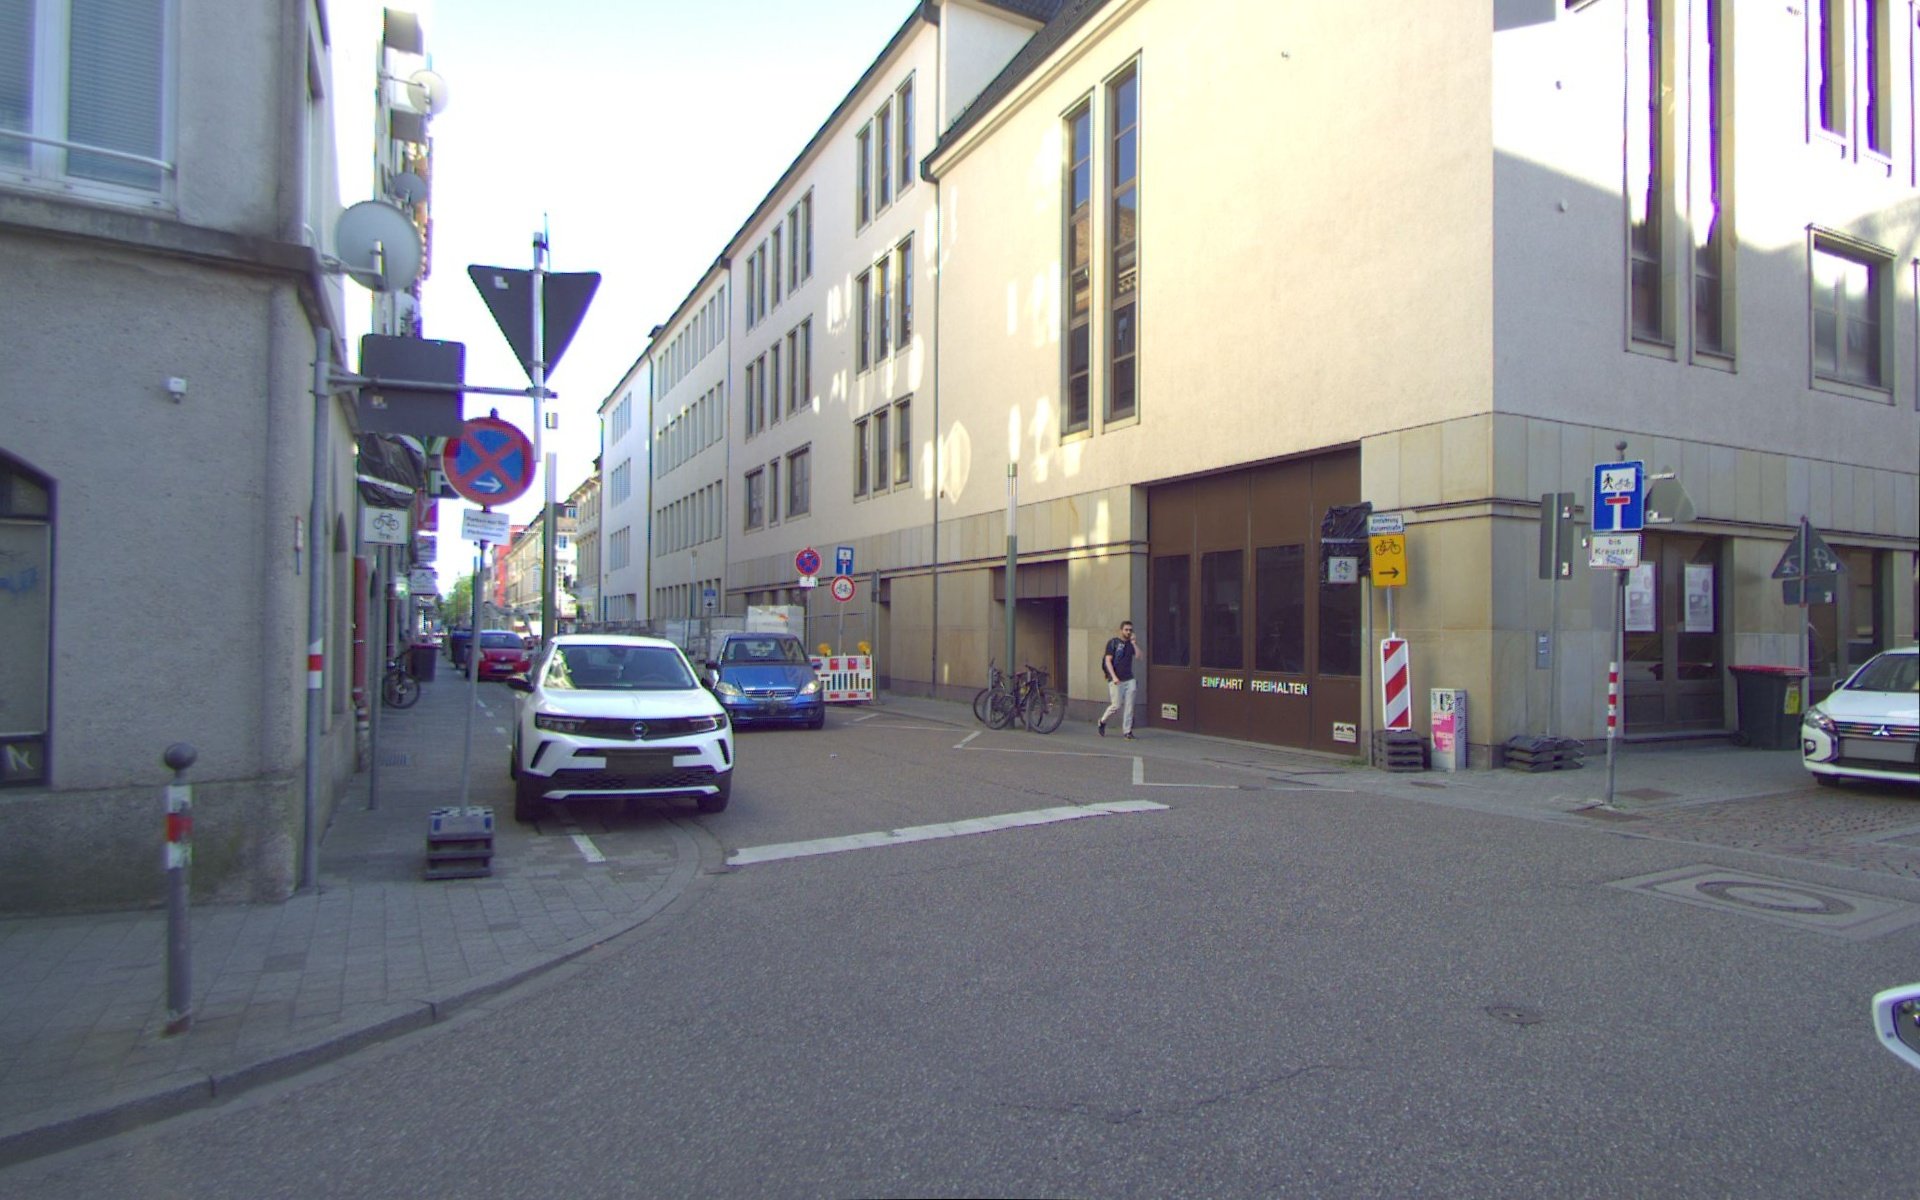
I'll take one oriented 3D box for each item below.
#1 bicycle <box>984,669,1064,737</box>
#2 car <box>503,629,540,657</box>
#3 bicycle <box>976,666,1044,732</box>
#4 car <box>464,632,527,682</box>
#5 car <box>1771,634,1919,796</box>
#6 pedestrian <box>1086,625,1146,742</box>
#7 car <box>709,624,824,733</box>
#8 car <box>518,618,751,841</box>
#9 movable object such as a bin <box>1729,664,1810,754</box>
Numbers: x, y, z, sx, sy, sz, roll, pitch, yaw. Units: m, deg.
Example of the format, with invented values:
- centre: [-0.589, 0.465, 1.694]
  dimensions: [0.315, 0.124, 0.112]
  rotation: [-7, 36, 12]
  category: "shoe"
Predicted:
- centre: [1.034, 1.671, 16.521]
  dimensions: [0.223, 0.978, 1.680]
  rotation: [1, -1, -39]
  category: "bicycle"
- centre: [-27.732, 2.698, 63.484]
  dimensions: [1.825, 1.690, 3.776]
  rotation: [1, -2, -29]
  category: "car"
- centre: [0.844, 1.667, 17.195]
  dimensions: [0.268, 1.017, 1.472]
  rotation: [1, -1, -38]
  category: "bicycle"
- centre: [-14.350, 1.712, 31.056]
  dimensions: [1.659, 1.461, 3.561]
  rotation: [1, -2, -25]
  category: "car"
- centre: [10.520, 1.134, 10.685]
  dimensions: [3.748, 1.526, 1.663]
  rotation: [1, -3, -30]
  category: "car"
- centre: [2.410, 1.260, 15.507]
  dimensions: [0.681, 1.725, 0.663]
  rotation: [0, 0, 36]
  category: "pedestrian"
- centre: [-3.300, 1.322, 17.498]
  dimensions: [1.731, 1.677, 3.995]
  rotation: [0, -3, -9]
  category: "car"
- centre: [-3.274, 1.050, 9.763]
  dimensions: [1.738, 1.677, 3.979]
  rotation: [1, -2, -22]
  category: "car"
- centre: [10.513, 1.396, 13.050]
  dimensions: [0.705, 1.075, 0.605]
  rotation: [2, 1, -33]
  category: "movable object such as a bin"
